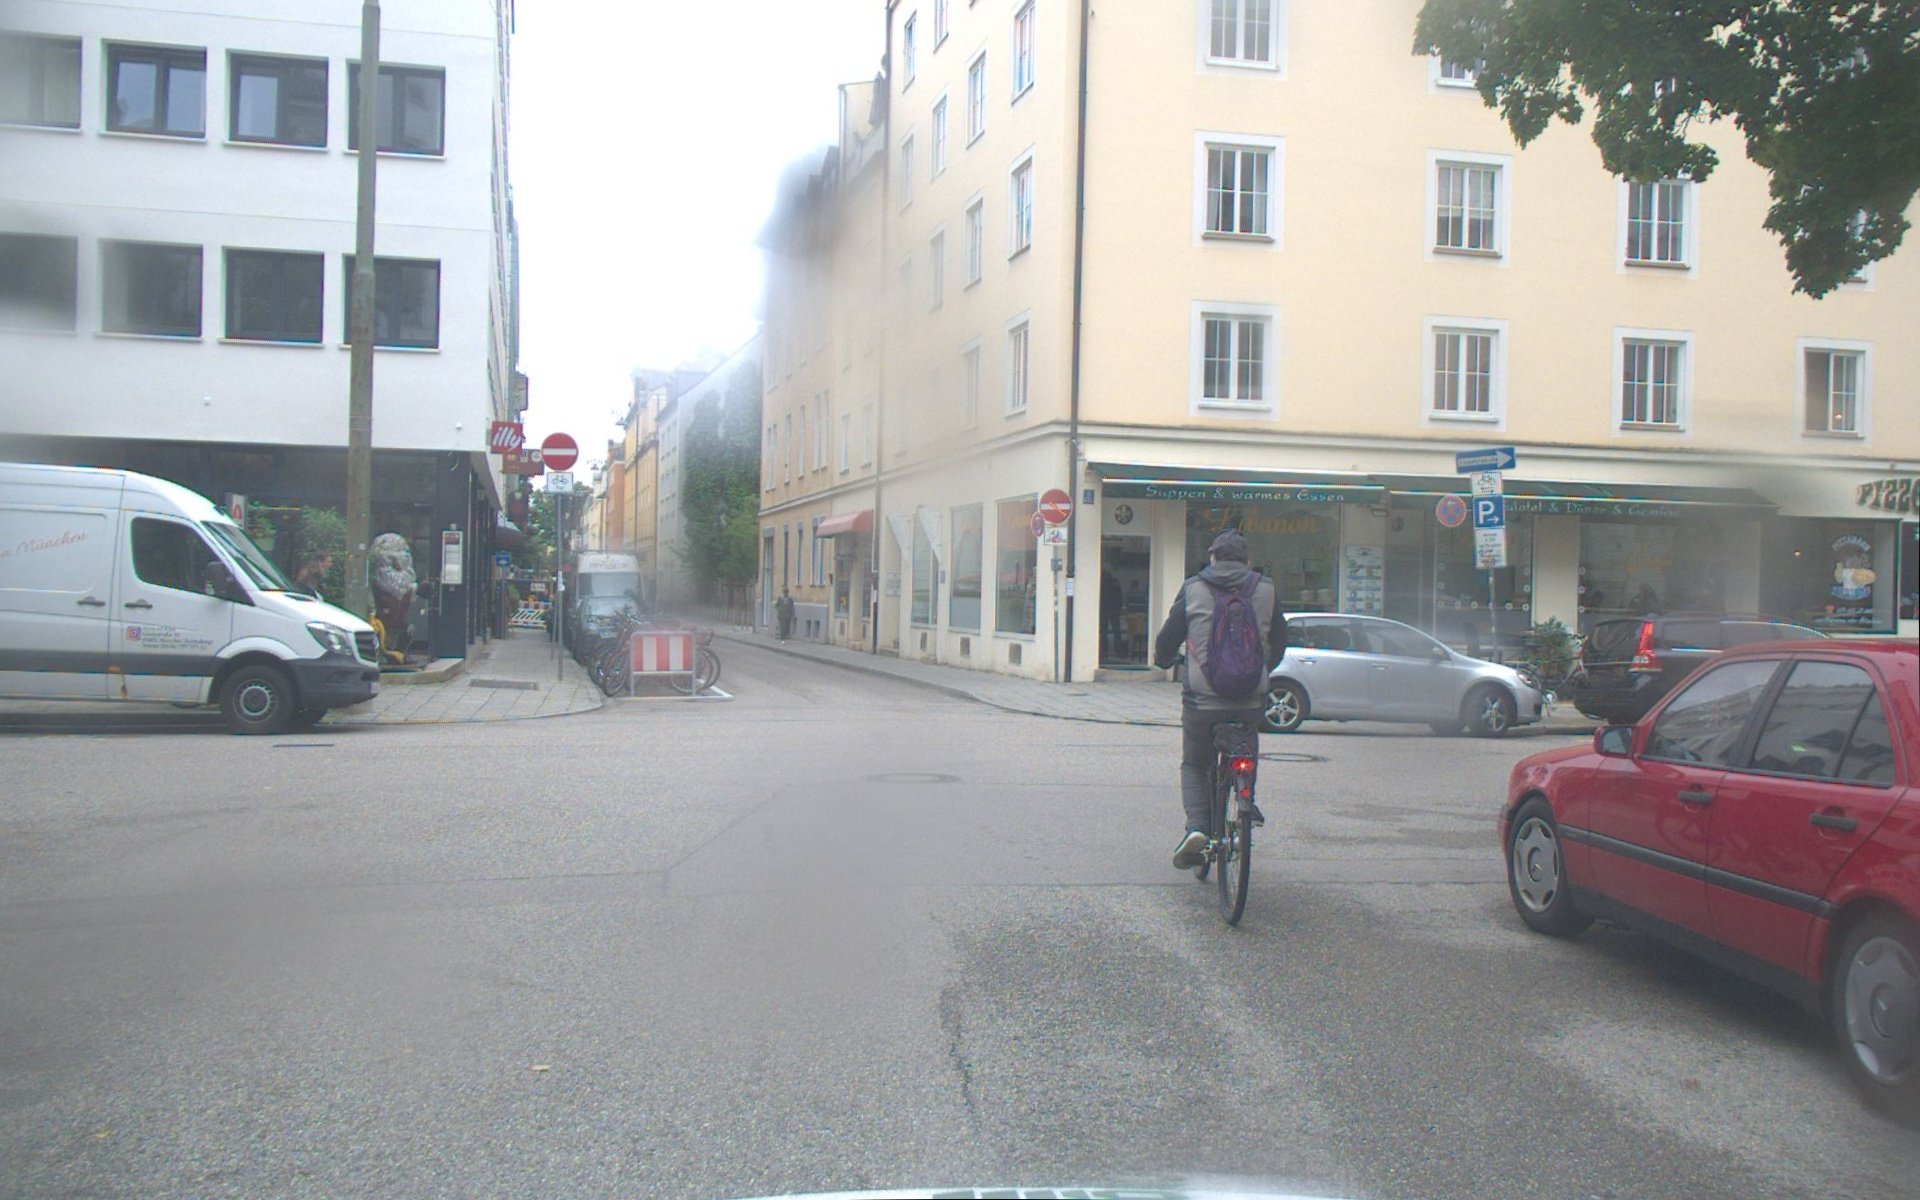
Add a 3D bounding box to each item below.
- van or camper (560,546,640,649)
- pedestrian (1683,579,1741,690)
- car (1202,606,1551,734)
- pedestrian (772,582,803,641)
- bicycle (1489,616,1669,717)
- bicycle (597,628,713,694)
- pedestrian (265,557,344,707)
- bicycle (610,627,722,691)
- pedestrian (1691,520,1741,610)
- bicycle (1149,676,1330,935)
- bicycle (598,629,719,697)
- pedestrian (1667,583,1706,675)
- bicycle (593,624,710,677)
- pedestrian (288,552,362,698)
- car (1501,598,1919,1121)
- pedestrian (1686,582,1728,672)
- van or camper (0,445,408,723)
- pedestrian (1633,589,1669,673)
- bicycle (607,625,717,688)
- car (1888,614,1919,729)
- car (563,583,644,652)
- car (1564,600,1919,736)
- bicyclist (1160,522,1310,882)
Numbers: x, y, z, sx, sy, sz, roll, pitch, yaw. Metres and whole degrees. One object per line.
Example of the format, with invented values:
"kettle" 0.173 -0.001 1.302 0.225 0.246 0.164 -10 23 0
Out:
"van or camper" -9.628 -0.074 44.323 1.959 2.584 4.745 1 0 -12
"pedestrian" 12.038 0.544 26.488 0.591 1.731 0.542 1 2 -10
"car" 5.122 0.872 20.704 3.906 1.440 1.820 1 -2 -1
"pedestrian" -5.295 0.345 50.761 0.862 1.809 0.771 1 0 -13
"bicycle" 8.593 0.914 23.018 2.045 1.275 1.104 2 1 -11
"bicycle" -4.742 0.939 25.710 1.709 0.985 0.541 1 0 -18
"pedestrian" -8.116 0.384 20.471 0.781 1.776 0.765 3 2 -27
"bicycle" -4.694 0.932 26.426 1.709 0.985 0.541 1 0 -18
"pedestrian" 13.776 -0.632 30.153 0.542 1.602 0.576 2 0 -12
"bicycle" 1.294 0.921 7.905 0.626 1.022 1.574 1 0 1
"bicycle" -4.564 0.949 25.047 1.727 0.985 0.592 1 0 -18
"pedestrian" 12.728 0.496 28.968 0.545 1.564 0.434 2 2 29
"bicycle" -5.251 0.855 28.164 1.881 0.878 0.615 1 0 -18
"pedestrian" -8.178 0.313 21.295 0.768 1.814 0.614 3 2 -27
"car" 3.529 0.767 5.921 1.636 1.460 4.212 2 1 -2
"pedestrian" 13.328 0.478 29.505 0.428 1.578 0.530 1 0 -29
"van or camper" -8.937 -0.130 17.190 5.798 2.724 1.868 1 -2 -11
"pedestrian" 12.190 0.540 29.169 0.502 1.458 0.582 1 0 29
"bicycle" -4.862 0.918 27.029 1.709 0.985 0.541 1 0 -18
"car" 14.976 0.997 22.232 4.260 1.529 1.815 1 -2 -13
"car" -8.620 0.382 39.805 1.801 1.562 3.986 1 0 -13
"car" 10.197 0.876 21.284 4.260 1.620 1.815 1 -2 -13
"bicyclist" 1.297 0.461 7.920 0.593 1.634 0.757 1 1 2
